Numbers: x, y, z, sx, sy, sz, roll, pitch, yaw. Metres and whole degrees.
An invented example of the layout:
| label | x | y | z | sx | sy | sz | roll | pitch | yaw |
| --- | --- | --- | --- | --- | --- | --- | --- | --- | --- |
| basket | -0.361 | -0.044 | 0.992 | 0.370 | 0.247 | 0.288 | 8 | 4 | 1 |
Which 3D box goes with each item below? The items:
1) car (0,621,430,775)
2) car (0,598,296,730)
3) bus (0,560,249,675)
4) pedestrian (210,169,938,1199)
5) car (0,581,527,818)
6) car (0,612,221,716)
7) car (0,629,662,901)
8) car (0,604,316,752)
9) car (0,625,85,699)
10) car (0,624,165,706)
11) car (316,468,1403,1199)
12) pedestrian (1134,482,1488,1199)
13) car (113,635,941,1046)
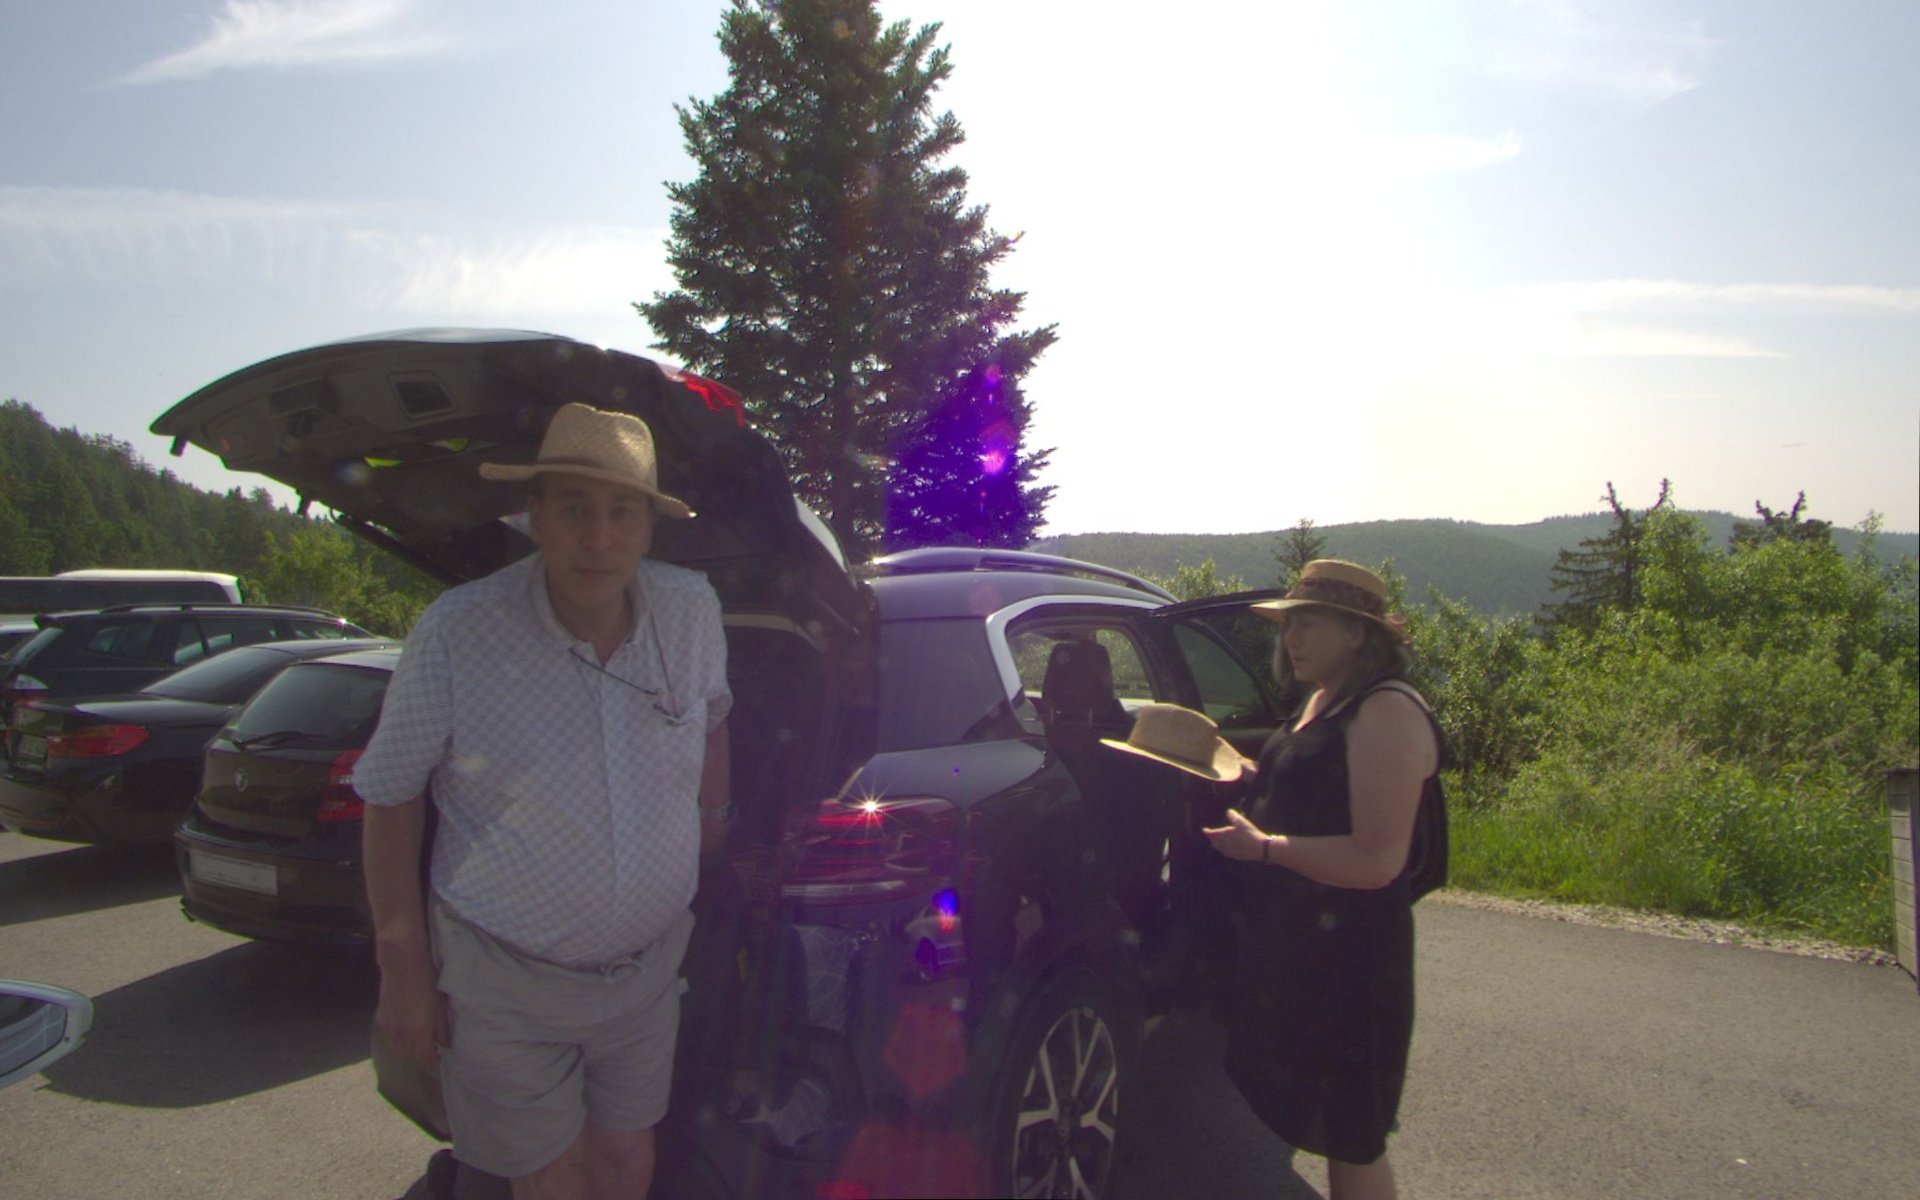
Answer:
| label | x | y | z | sx | sy | sz | roll | pitch | yaw |
| --- | --- | --- | --- | --- | --- | --- | --- | --- | --- |
| car | -8.517 | 0.960 | 11.163 | 1.816 | 1.286 | 4.224 | -1 | 0 | 39 |
| car | -12.793 | 0.871 | 14.405 | 2.023 | 1.673 | 5.011 | -1 | 0 | 39 |
| bus | -31.071 | 0.569 | 32.290 | 12.989 | 3.580 | 3.017 | -2 | 1 | -41 |
| pedestrian | -0.575 | 0.532 | 1.509 | 0.728 | 1.896 | 0.752 | 2 | 1 | 41 |
| car | -6.749 | 0.724 | 8.964 | 1.923 | 1.718 | 4.923 | -1 | 0 | 41 |
| car | -15.336 | 1.052 | 17.173 | 1.640 | 1.574 | 3.969 | -1 | 1 | 39 |
| car | -4.357 | 0.927 | 7.332 | 1.679 | 1.394 | 4.074 | -1 | -2 | 33 |
| car | -10.765 | 0.904 | 12.497 | 1.816 | 1.574 | 4.224 | -1 | 0 | 39 |
| car | -20.954 | 1.340 | 20.749 | 1.839 | 1.468 | 3.969 | -1 | 0 | 39 |
| car | -17.989 | 1.255 | 19.258 | 1.601 | 1.417 | 3.969 | -1 | 0 | 39 |
| car | 0.308 | 0.751 | 3.879 | 1.845 | 1.646 | 4.336 | -2 | -4 | 34 |
| pedestrian | 0.746 | 0.643 | 2.045 | 0.529 | 1.633 | 0.713 | -2 | -1 | 31 |
| car | -1.866 | 0.898 | 5.605 | 1.677 | 1.394 | 4.077 | -1 | -2 | 30 |
